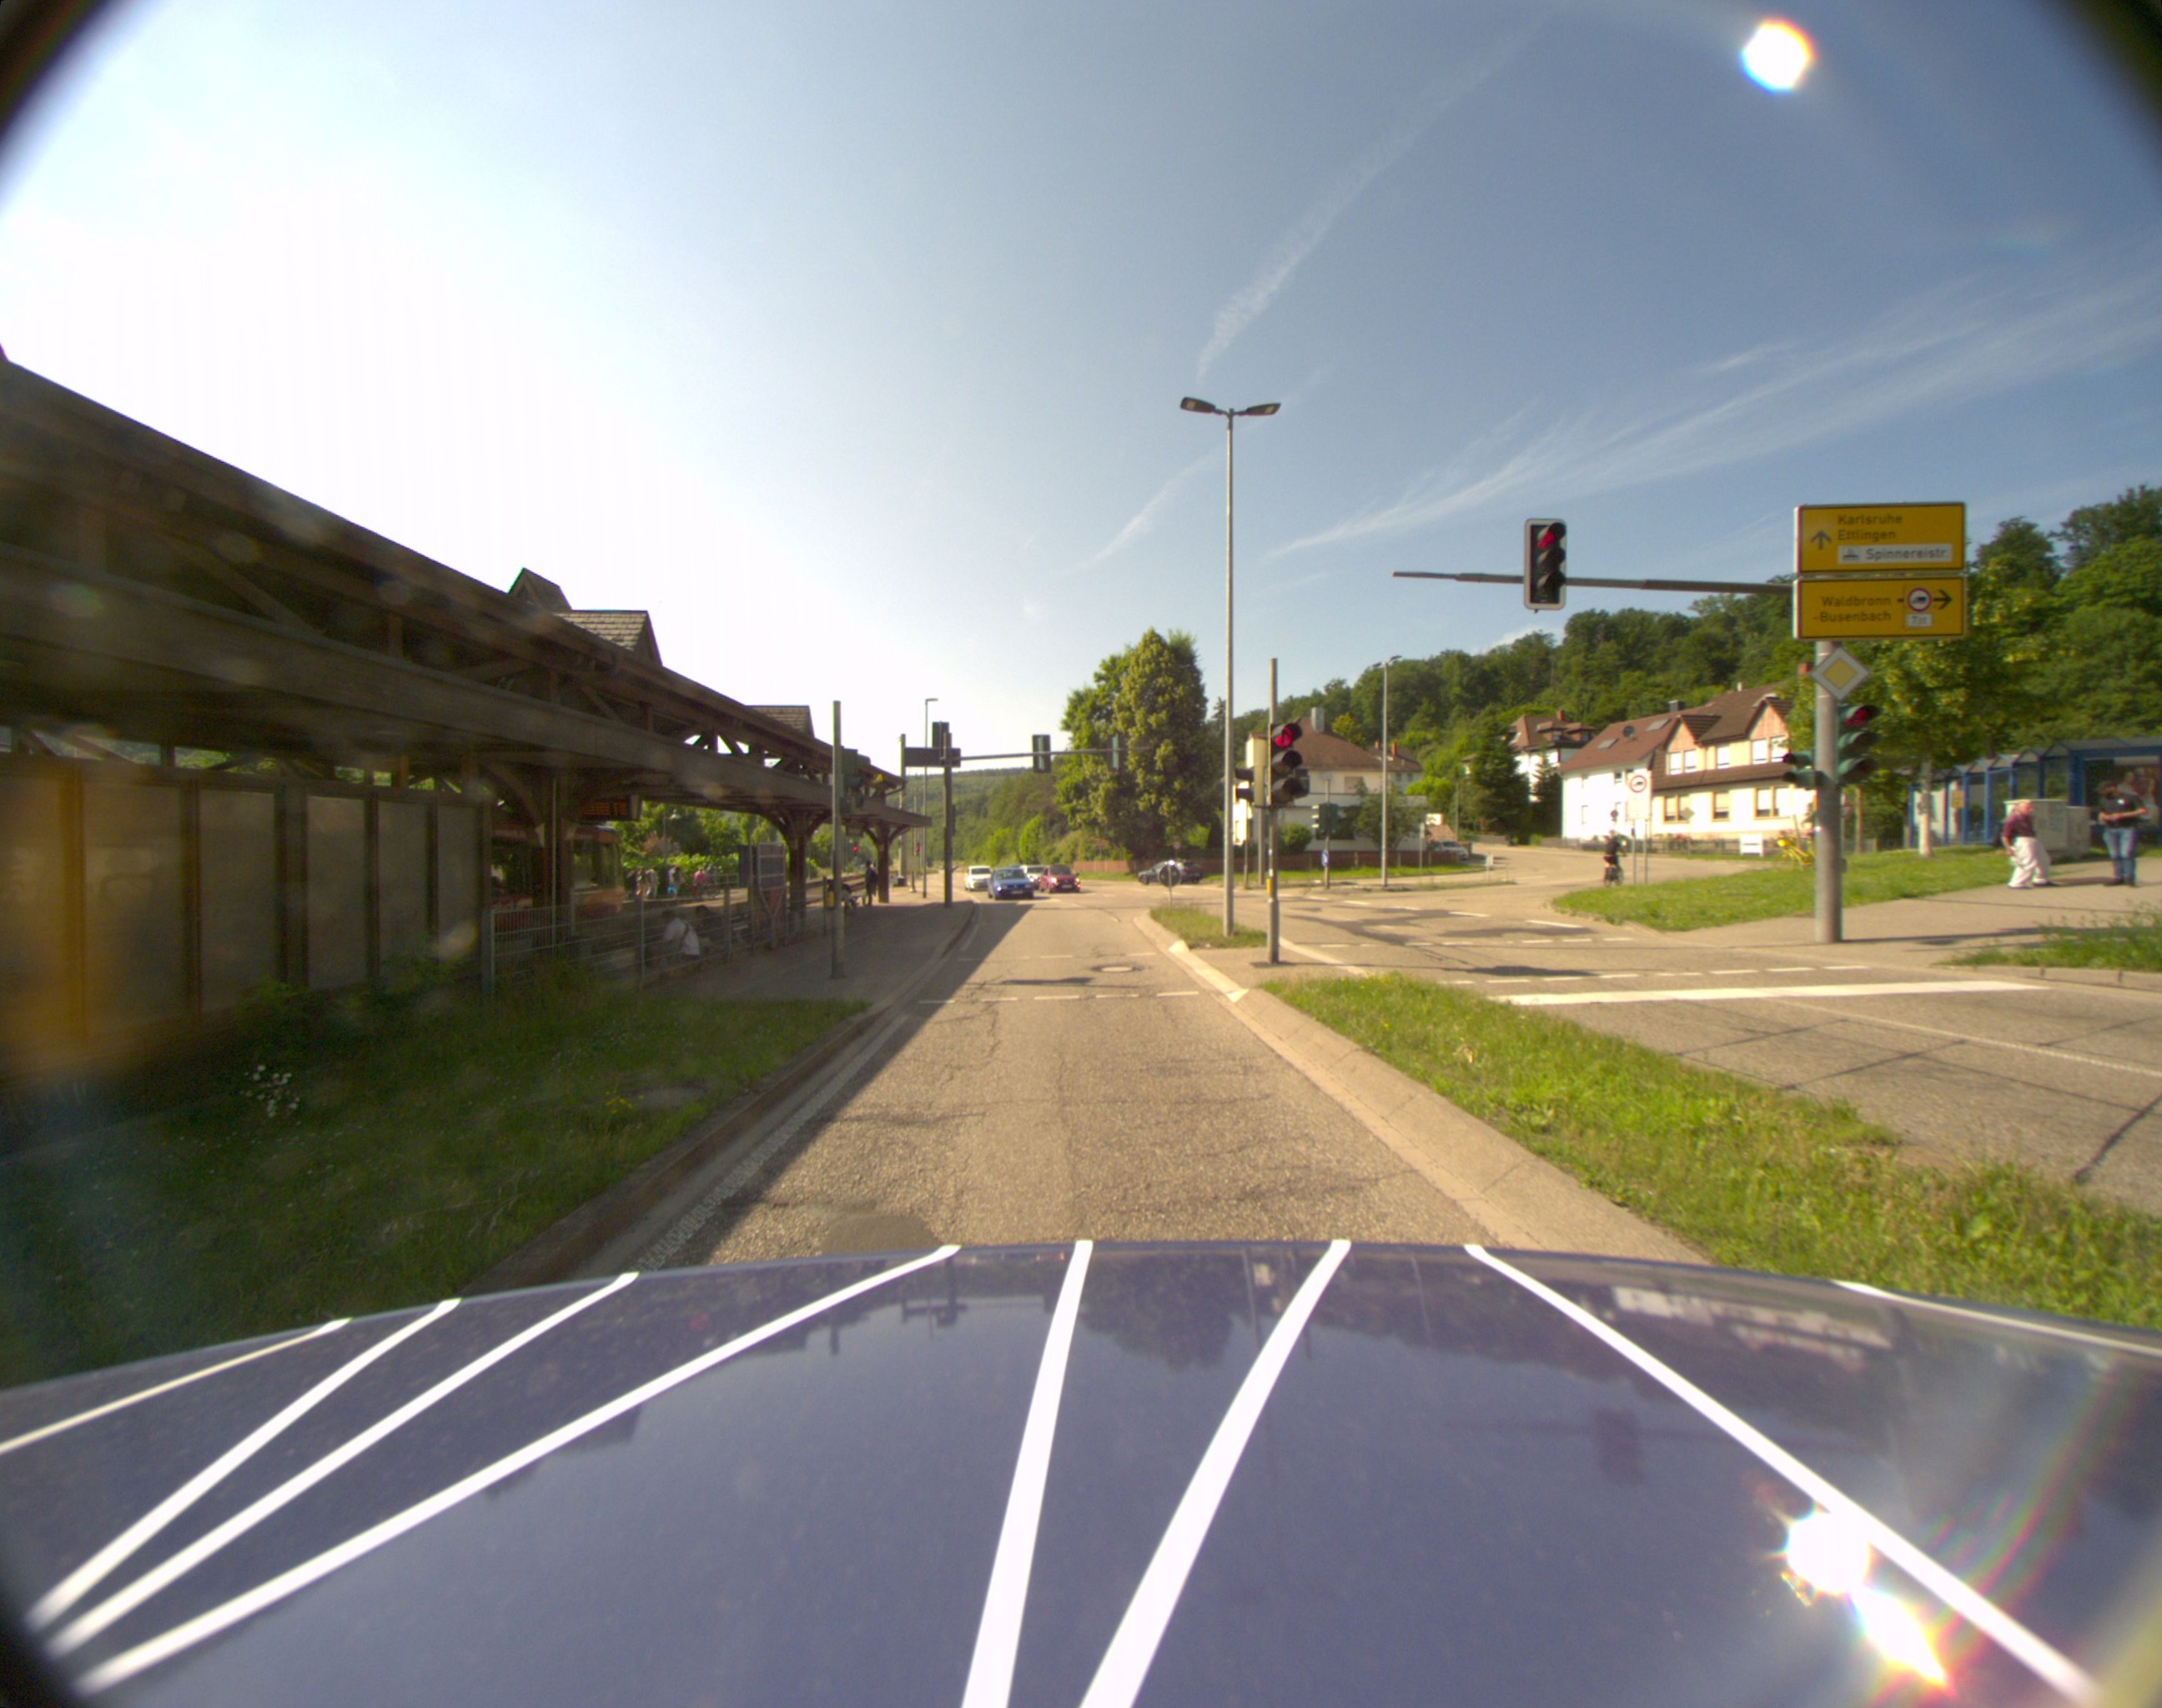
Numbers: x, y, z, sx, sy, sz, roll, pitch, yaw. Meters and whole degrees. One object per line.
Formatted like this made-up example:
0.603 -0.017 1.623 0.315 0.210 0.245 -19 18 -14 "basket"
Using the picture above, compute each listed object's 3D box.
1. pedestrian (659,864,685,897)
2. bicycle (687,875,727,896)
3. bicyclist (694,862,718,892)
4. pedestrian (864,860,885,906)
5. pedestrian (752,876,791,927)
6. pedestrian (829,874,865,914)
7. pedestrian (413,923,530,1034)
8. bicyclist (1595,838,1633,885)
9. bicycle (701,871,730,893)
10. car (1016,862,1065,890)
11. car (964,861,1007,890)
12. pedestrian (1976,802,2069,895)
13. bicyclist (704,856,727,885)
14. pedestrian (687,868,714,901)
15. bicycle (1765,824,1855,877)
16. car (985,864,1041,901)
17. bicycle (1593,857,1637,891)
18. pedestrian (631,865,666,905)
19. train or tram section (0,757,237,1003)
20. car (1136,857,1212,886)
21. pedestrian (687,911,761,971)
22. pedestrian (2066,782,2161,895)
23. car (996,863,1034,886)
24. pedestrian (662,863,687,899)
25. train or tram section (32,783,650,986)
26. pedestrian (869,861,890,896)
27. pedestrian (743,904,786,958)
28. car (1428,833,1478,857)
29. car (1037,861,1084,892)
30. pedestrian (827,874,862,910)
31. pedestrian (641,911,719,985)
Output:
-21.349 1.388 39.665 0.867 1.674 0.822 -3 -1 -5 "pedestrian"
-20.775 1.763 42.235 1.814 1.049 0.603 -3 1 -13 "bicycle"
-20.840 1.275 42.259 0.947 1.559 0.786 -3 1 -13 "bicyclist"
-7.782 1.088 28.636 0.659 1.682 0.738 -1 0 -11 "pedestrian"
-9.674 1.464 23.797 0.863 1.538 0.922 -1 -1 -3 "pedestrian"
-7.620 1.296 24.785 0.994 1.228 0.596 -3 -1 -11 "pedestrian"
-6.883 1.386 8.610 0.744 1.110 0.667 -3 -1 -5 "pedestrian"
19.953 0.275 28.430 0.995 1.681 0.805 -3 -1 -37 "bicyclist"
-22.442 1.725 46.670 0.873 1.246 2.294 -3 -1 -8 "bicycle"
-2.549 1.348 46.136 1.982 1.495 4.746 -2 -1 -15 "car"
-5.847 1.302 46.116 2.001 1.575 3.995 -3 0 -15 "car"
17.581 -0.094 14.206 0.712 1.667 0.741 -3 -1 -2 "pedestrian"
-22.492 1.036 46.758 1.010 1.716 0.865 -3 -1 -8 "bicyclist"
-20.010 1.608 39.990 0.901 1.674 0.824 -4 -1 29 "pedestrian"
19.097 -0.068 19.964 0.620 1.247 1.758 -6 -3 4 "bicycle"
-3.142 1.223 34.328 1.867 1.474 4.297 -1 0 -13 "car"
20.046 0.735 28.503 2.003 1.155 0.733 -3 -1 -37 "bicycle"
-20.517 1.470 36.053 0.989 1.831 1.074 -2 -1 2 "pedestrian"
-16.049 0.442 7.141 2.794 3.345 12.045 -3 0 -1 "train or tram section"
5.613 1.051 46.026 3.990 1.499 2.004 -4 -1 38 "car"
-5.942 1.433 12.685 0.847 0.869 0.807 -3 -1 -5 "pedestrian"
18.365 -0.270 13.412 0.741 1.897 0.857 -5 1 -3 "pedestrian"
-4.799 1.485 54.731 1.982 1.495 3.982 -2 -1 -15 "car"
-19.661 1.321 36.762 0.904 1.674 0.821 -3 -1 -21 "pedestrian"
-16.576 0.512 20.060 2.864 3.345 14.349 -2 0 -3 "train or tram section"
-10.448 1.282 39.391 0.917 1.726 1.250 -3 -1 -12 "pedestrian"
-5.978 1.443 14.372 0.619 0.960 0.406 -3 -1 -5 "pedestrian"
27.984 -0.661 57.356 1.938 1.627 4.002 -3 -1 4 "car"
-1.136 1.178 40.234 1.663 1.525 3.951 -2 -1 -14 "car"
-8.075 1.276 25.953 1.010 1.153 0.948 -2 1 -11 "pedestrian"
-5.948 1.379 11.314 0.744 0.976 0.769 -3 -1 -5 "pedestrian"
